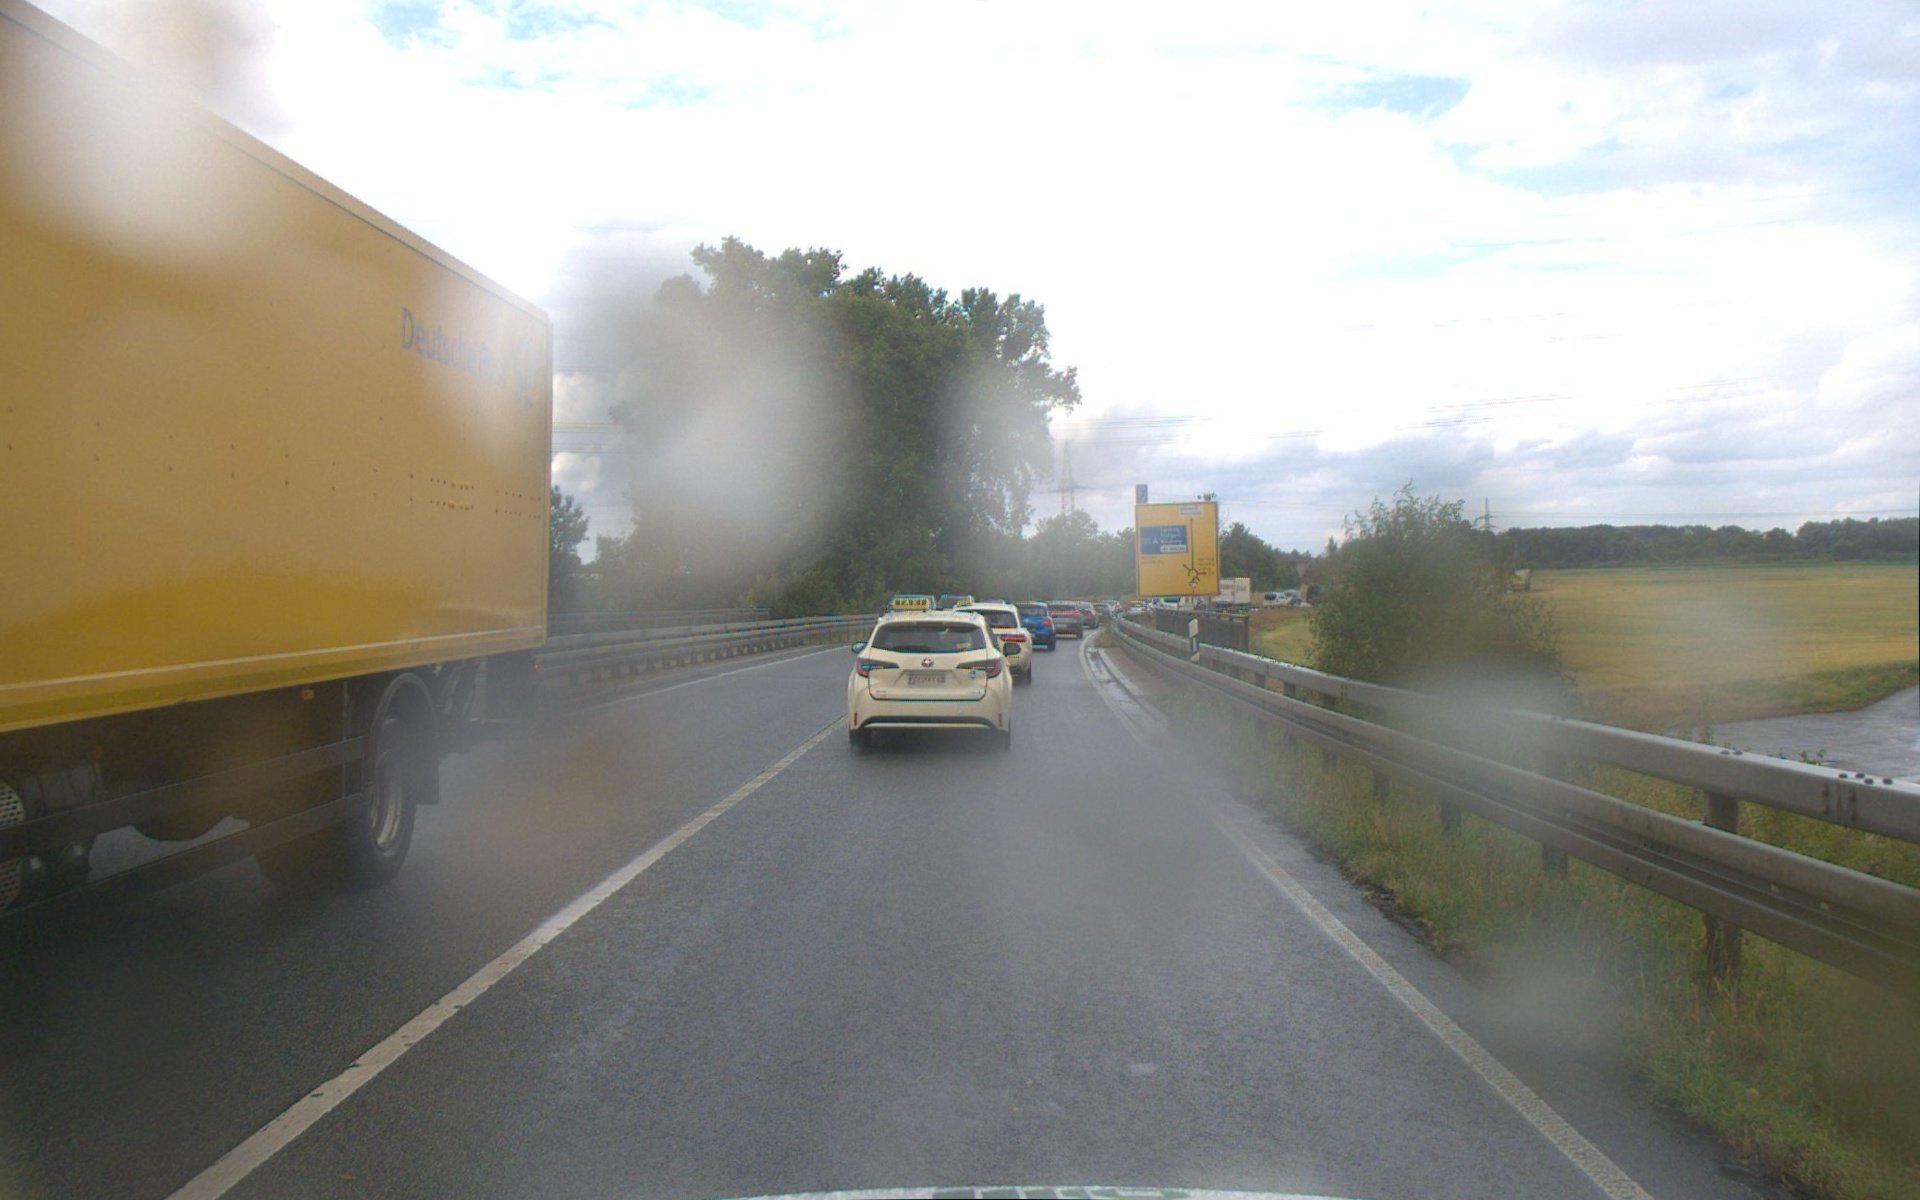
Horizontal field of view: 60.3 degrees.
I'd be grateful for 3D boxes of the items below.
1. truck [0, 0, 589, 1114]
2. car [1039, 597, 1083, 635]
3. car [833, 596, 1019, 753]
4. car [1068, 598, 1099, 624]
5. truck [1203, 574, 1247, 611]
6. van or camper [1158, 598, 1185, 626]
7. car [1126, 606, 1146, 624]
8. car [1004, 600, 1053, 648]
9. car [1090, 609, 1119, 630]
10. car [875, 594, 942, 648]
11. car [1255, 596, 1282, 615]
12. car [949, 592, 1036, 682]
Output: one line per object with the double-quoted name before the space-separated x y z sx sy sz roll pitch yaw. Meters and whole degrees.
"truck" -4.049 -0.291 7.190 2.713 3.489 9.187 0 0 0
"car" 4.205 0.658 68.530 1.630 1.490 3.479 0 0 7
"car" -0.274 0.769 18.748 1.866 1.564 4.162 0 0 2
"car" 7.117 0.663 94.850 1.625 1.434 3.907 0 -1 6
"truck" 27.318 -0.777 170.256 3.075 3.624 7.522 0 -1 20
"van or camper" 18.413 1.059 144.009 1.951 2.293 4.003 1 -1 12
"car" 13.415 1.137 125.816 1.451 1.332 3.479 0 0 8
"car" 2.188 0.755 52.388 1.474 1.462 3.357 1 0 3
"car" 9.481 1.280 108.535 1.451 1.332 3.479 0 0 13
"car" -1.656 0.656 54.483 1.709 1.682 4.527 0 0 4
"car" 35.410 0.670 189.828 2.123 2.049 3.998 0 -1 24
"car" 0.676 0.684 31.620 1.545 1.600 3.682 0 0 3
